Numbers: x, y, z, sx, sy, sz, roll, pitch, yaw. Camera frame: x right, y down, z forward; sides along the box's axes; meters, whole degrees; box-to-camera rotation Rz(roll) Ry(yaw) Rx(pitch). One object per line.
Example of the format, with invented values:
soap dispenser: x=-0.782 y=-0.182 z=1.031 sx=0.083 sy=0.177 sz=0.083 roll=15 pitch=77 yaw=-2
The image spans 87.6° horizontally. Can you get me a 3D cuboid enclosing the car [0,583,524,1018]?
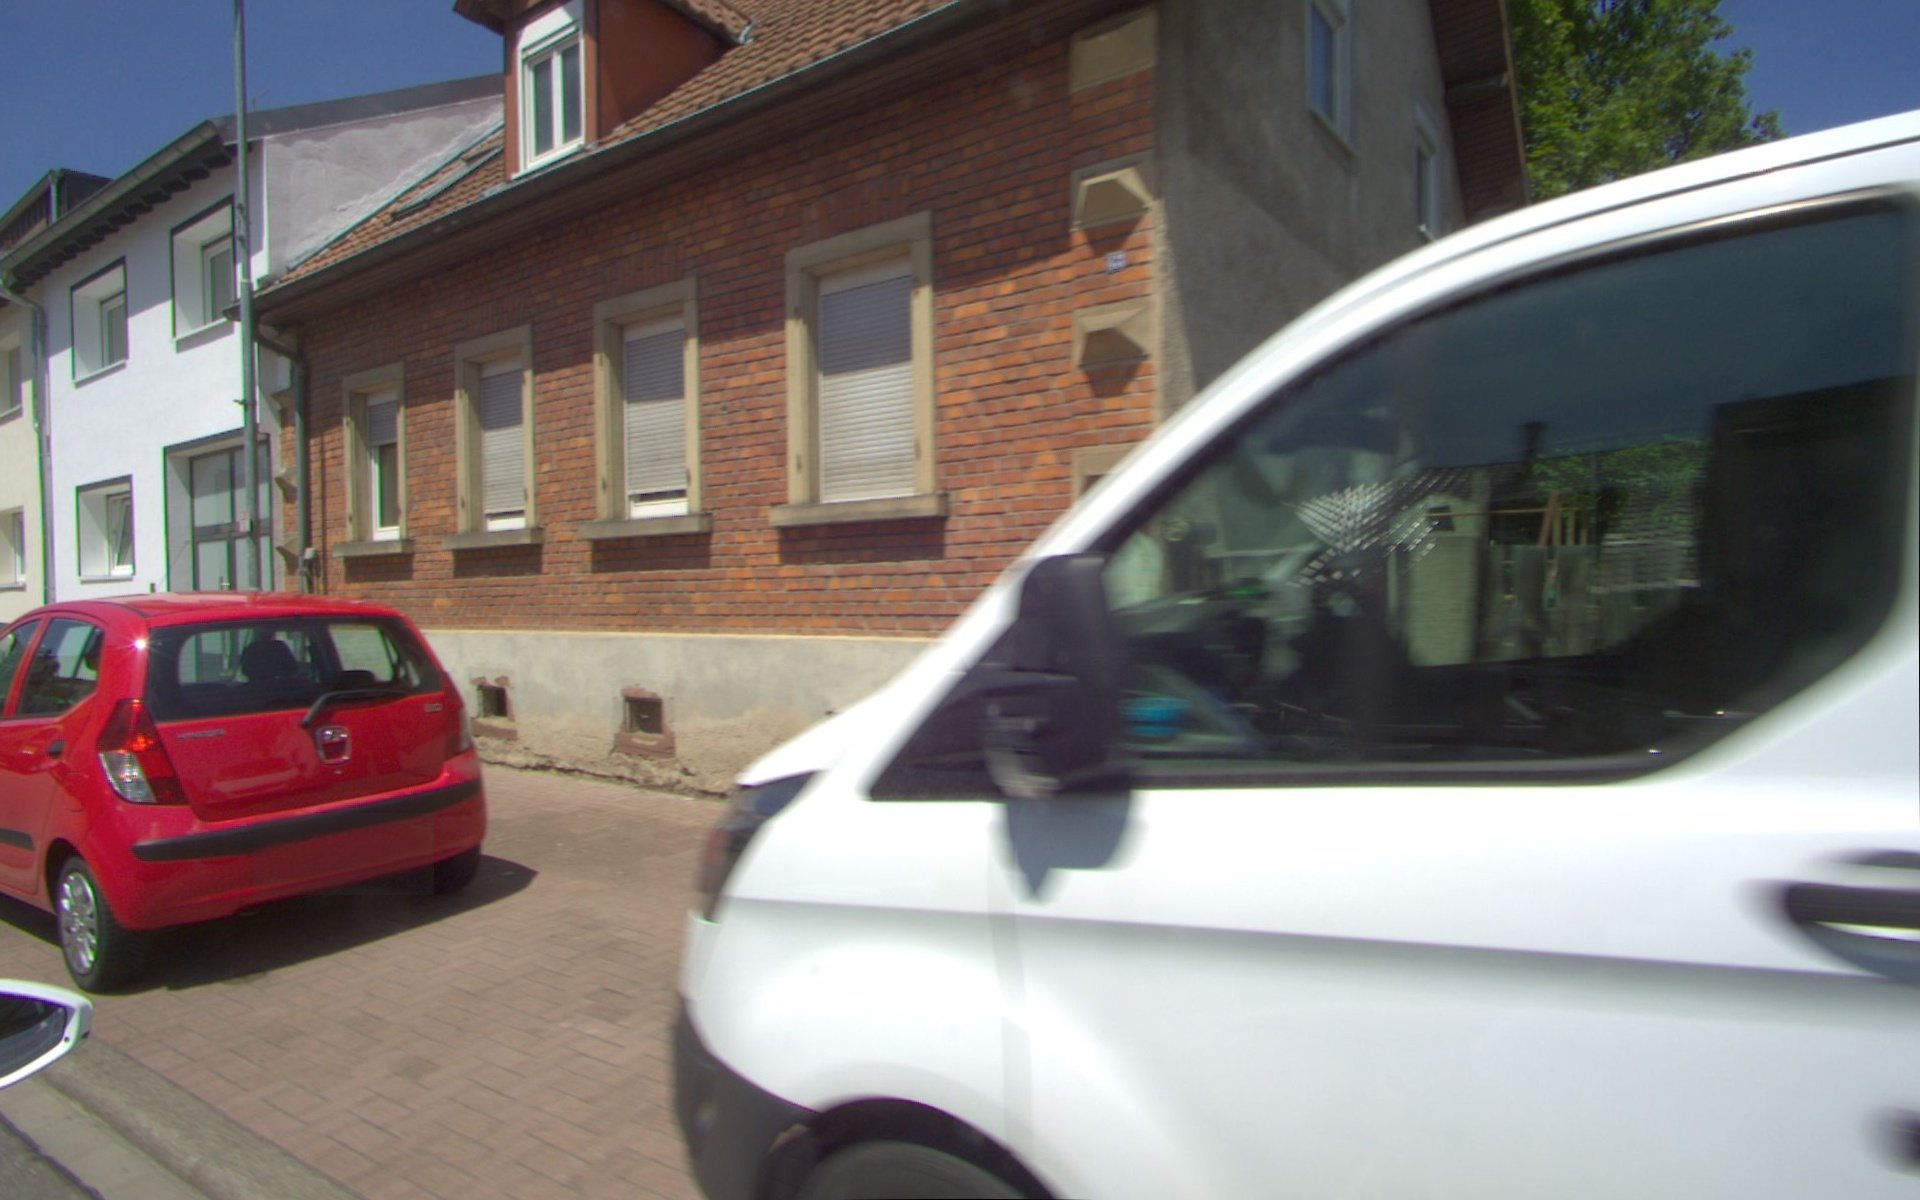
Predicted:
car: x=-4.098 y=0.718 z=5.215 sx=3.624 sy=1.548 sz=1.606 roll=0 pitch=1 yaw=33

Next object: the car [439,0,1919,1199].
car: x=1.558 y=0.427 z=1.456 sx=4.715 sy=1.997 sz=1.942 roll=0 pitch=1 yaw=32
